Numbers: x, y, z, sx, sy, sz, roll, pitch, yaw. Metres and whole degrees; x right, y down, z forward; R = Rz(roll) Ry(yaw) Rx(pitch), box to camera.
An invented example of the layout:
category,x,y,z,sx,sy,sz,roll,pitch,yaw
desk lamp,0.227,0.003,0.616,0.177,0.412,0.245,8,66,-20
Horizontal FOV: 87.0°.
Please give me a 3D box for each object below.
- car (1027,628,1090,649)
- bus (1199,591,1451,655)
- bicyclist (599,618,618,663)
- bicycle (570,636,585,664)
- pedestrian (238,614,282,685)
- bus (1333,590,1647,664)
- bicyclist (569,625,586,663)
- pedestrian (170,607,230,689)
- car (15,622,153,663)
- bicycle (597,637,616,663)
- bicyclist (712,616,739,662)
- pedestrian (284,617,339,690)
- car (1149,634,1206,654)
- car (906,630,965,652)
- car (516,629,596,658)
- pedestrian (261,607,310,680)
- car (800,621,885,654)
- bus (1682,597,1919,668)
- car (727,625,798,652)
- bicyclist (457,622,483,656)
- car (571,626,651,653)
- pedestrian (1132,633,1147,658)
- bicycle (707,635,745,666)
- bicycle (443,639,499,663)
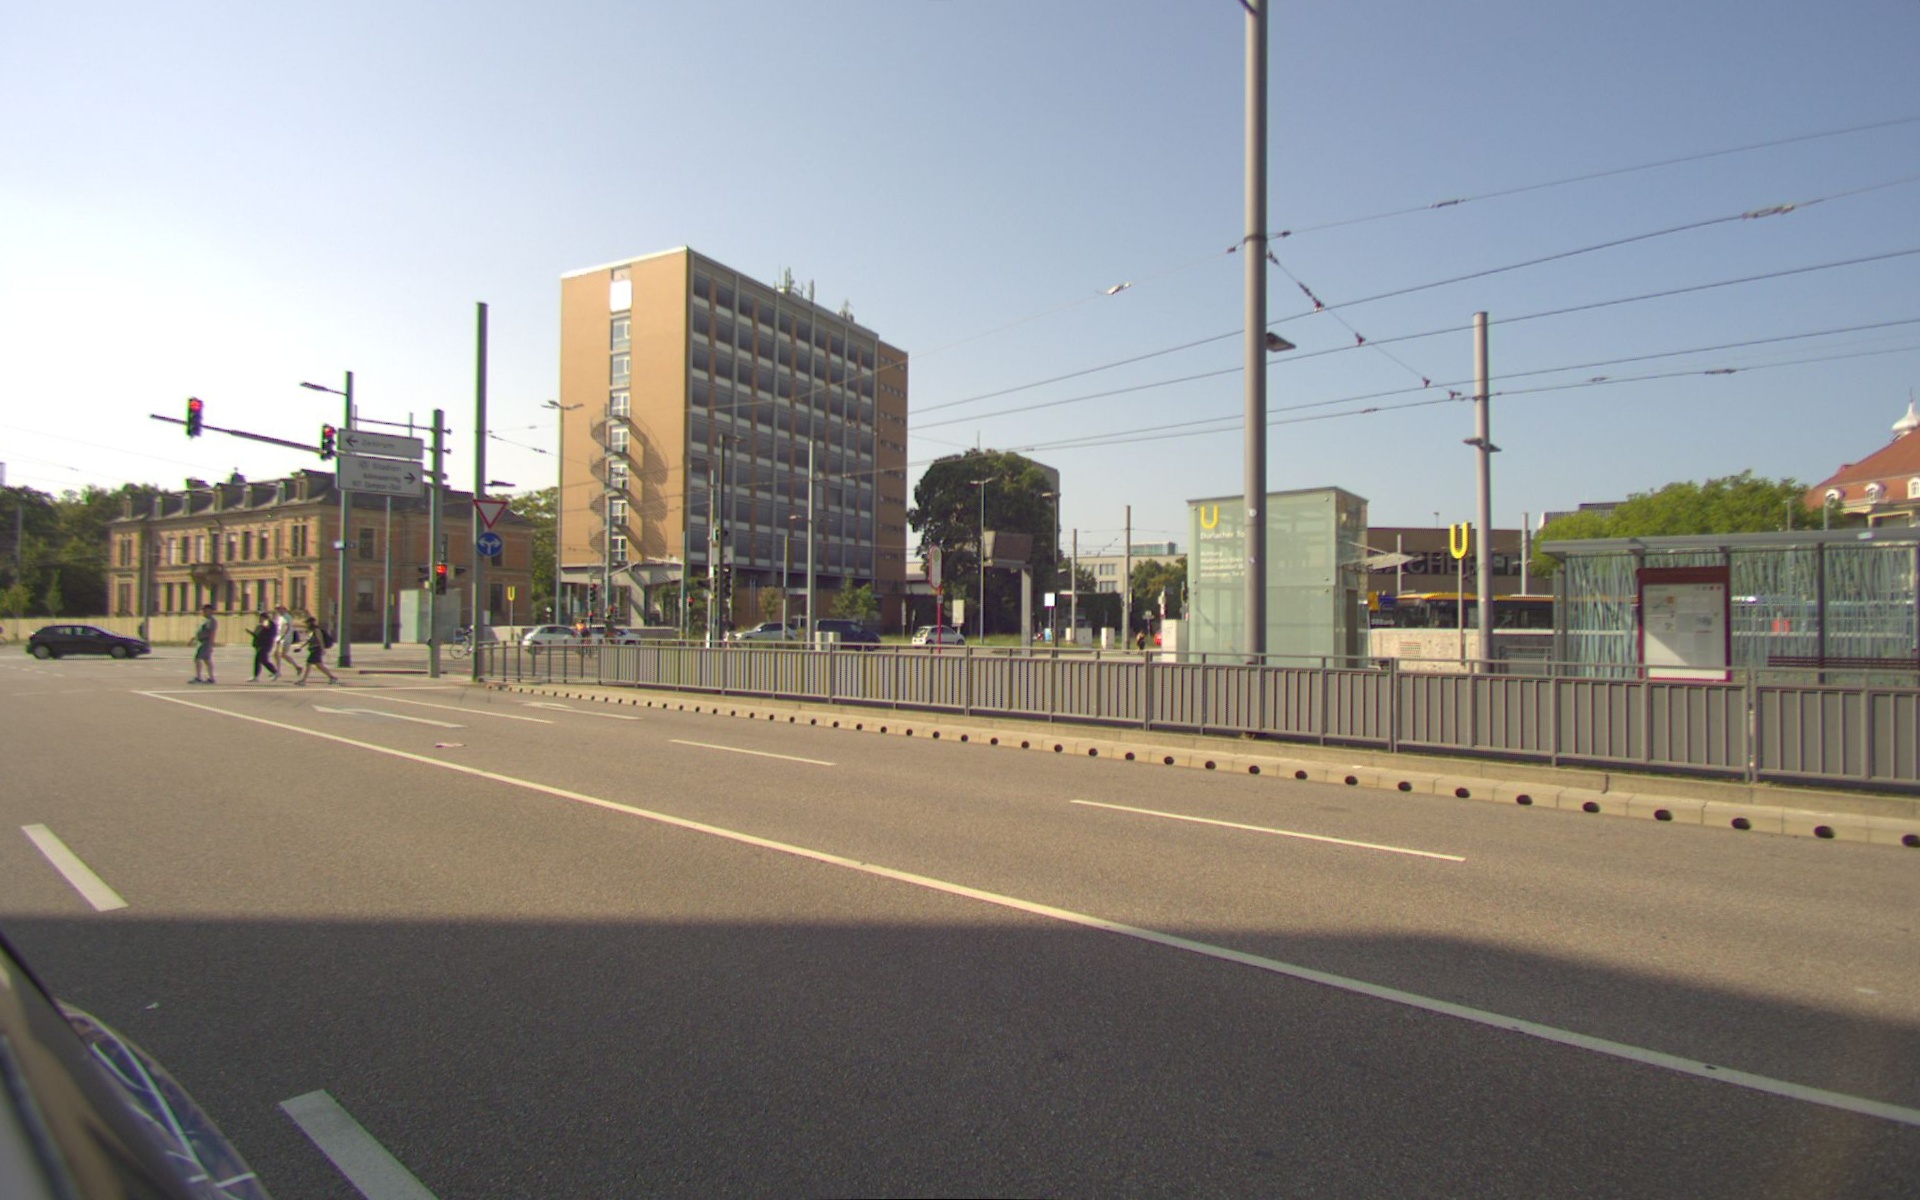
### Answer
category,x,y,z,sx,sy,sz,roll,pitch,yaw
car,7.192,2.798,73.787,4.275,1.463,1.809,1,-2,-30
bus,20.444,1.329,57.069,13.113,3.445,3.228,0,-2,-5
bicyclist,-15.603,1.790,44.898,0.571,1.989,0.810,1,-3,-34
bicycle,-16.642,2.163,44.040,0.306,1.174,1.503,1,-3,-33
pedestrian,-16.072,1.140,23.247,0.467,1.610,0.626,-1,-5,40
bus,24.198,1.269,46.506,13.109,3.203,3.229,0,-2,-6
bicyclist,-16.661,1.921,44.068,0.503,1.642,0.810,1,-3,-34
pedestrian,-16.236,1.029,21.620,0.651,1.706,0.805,-1,-5,42
car,-36.430,1.758,42.242,3.930,1.608,2.006,1,-2,-26
bicycle,-15.776,2.220,45.131,0.371,1.174,1.864,1,-3,-33
bicyclist,-8.643,1.438,37.280,0.790,1.669,0.581,-1,-3,42
pedestrian,-14.218,1.174,22.192,0.548,1.559,0.799,-1,-5,43
car,15.841,3.198,73.769,3.932,1.426,1.808,1,-2,-32
car,-1.626,2.714,66.919,3.495,1.446,1.809,1,-2,-29
car,-20.392,2.173,51.082,3.553,1.426,1.809,1,-2,-28
pedestrian,-16.982,1.100,25.480,0.822,1.802,0.730,5,-5,-41
car,-6.918,2.219,59.677,4.690,1.842,1.809,1,-2,-26
bus,41.577,1.564,47.990,13.108,3.203,3.230,0,-2,-7
car,-13.258,2.612,68.023,4.217,1.720,1.957,2,-4,-33
bicyclist,-21.442,1.700,44.281,0.955,1.486,1.091,1,-2,-23
car,-19.129,2.167,55.508,3.931,1.426,1.809,1,-2,-27
pedestrian,9.325,2.368,52.601,0.549,1.302,0.769,0,-2,-5
bicycle,-8.639,1.838,37.263,1.745,1.118,0.397,-1,-3,41
bicycle,-21.416,2.223,44.344,2.159,0.997,0.531,2,-2,-24
